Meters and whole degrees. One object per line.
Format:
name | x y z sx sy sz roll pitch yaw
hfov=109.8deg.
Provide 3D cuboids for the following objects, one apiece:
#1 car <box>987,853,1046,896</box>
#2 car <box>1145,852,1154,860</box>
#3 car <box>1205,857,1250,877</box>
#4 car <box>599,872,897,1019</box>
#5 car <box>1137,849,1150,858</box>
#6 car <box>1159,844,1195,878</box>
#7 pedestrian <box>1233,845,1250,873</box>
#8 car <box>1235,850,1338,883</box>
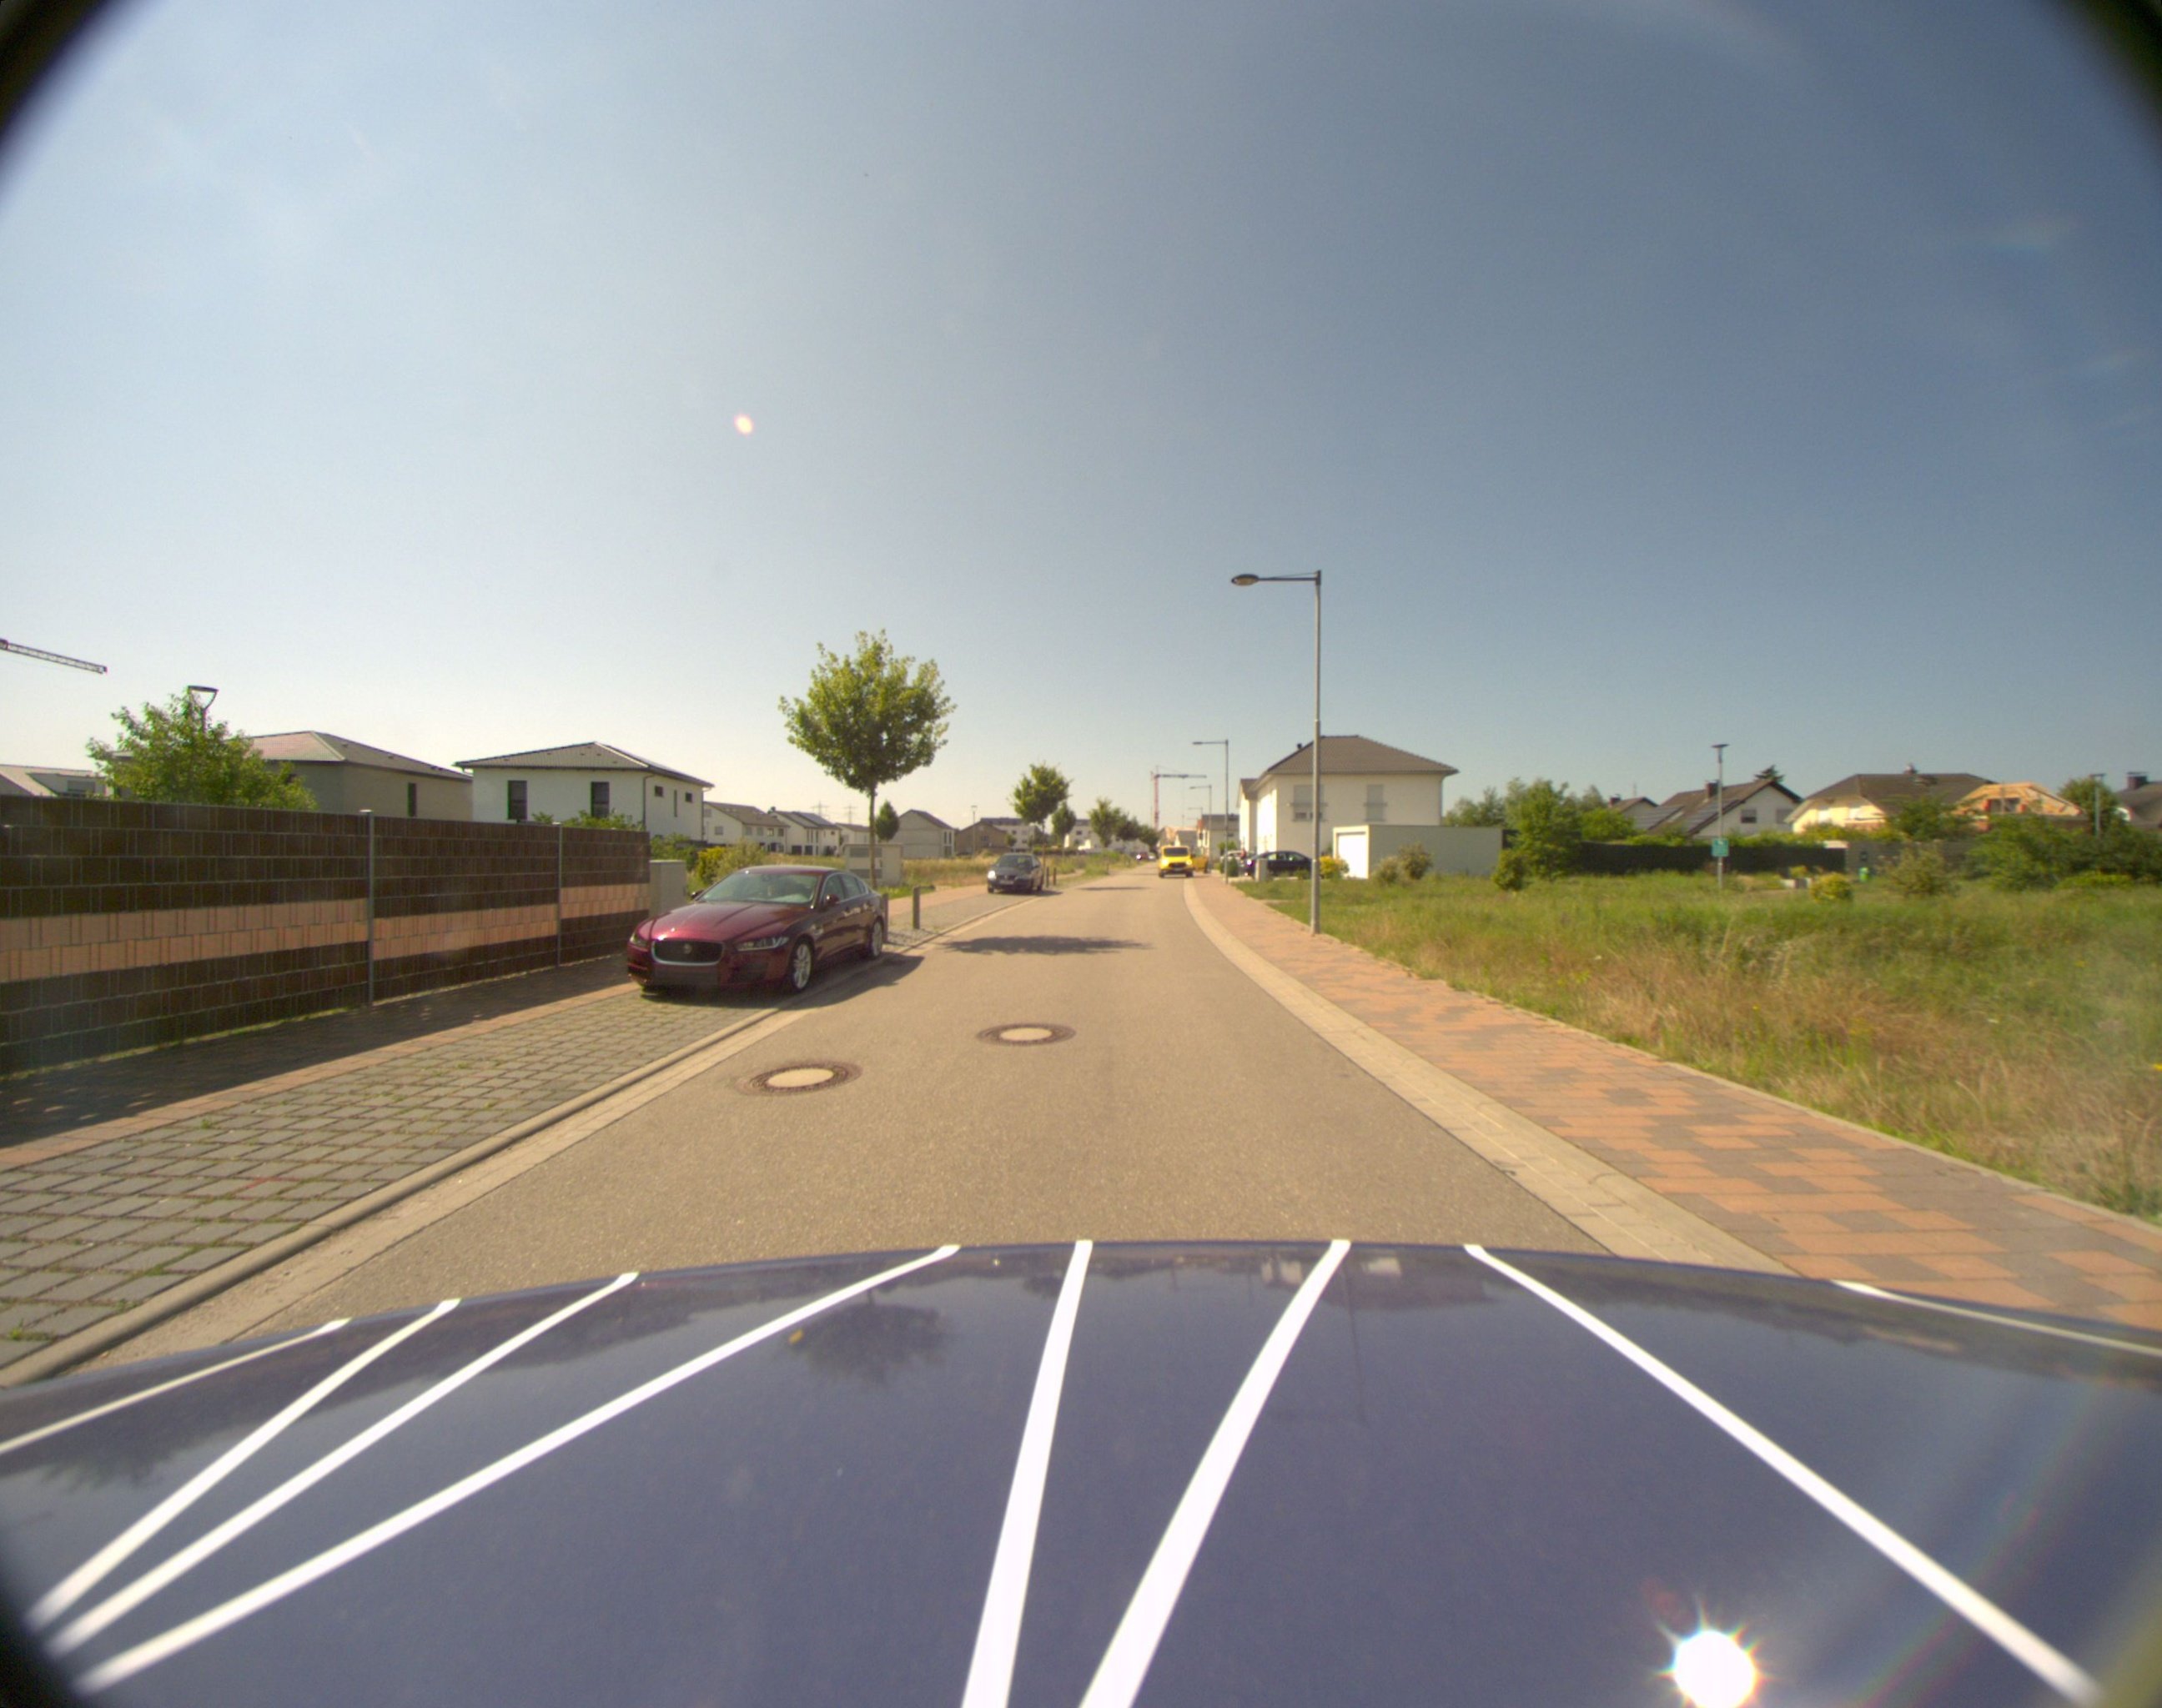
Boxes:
car | -2.377 0.718 28.855 1.601 1.466 3.676 2 1 5
car | 12.424 0.368 137.481 1.492 1.389 3.274 0 0 7
car | 13.569 1.193 70.600 3.994 1.842 2.001 0 1 8
car | -3.935 0.978 9.995 1.758 1.355 4.576 0 0 2
car | 9.856 -0.079 119.894 1.768 1.483 4.002 0 0 7
car | 5.957 0.422 47.667 1.888 2.002 4.842 -1 0 4
pedestrian | 9.937 0.294 47.099 0.931 1.675 0.538 -2 1 17
car | 9.865 0.564 36.616 4.406 1.444 1.748 -1 1 -6
